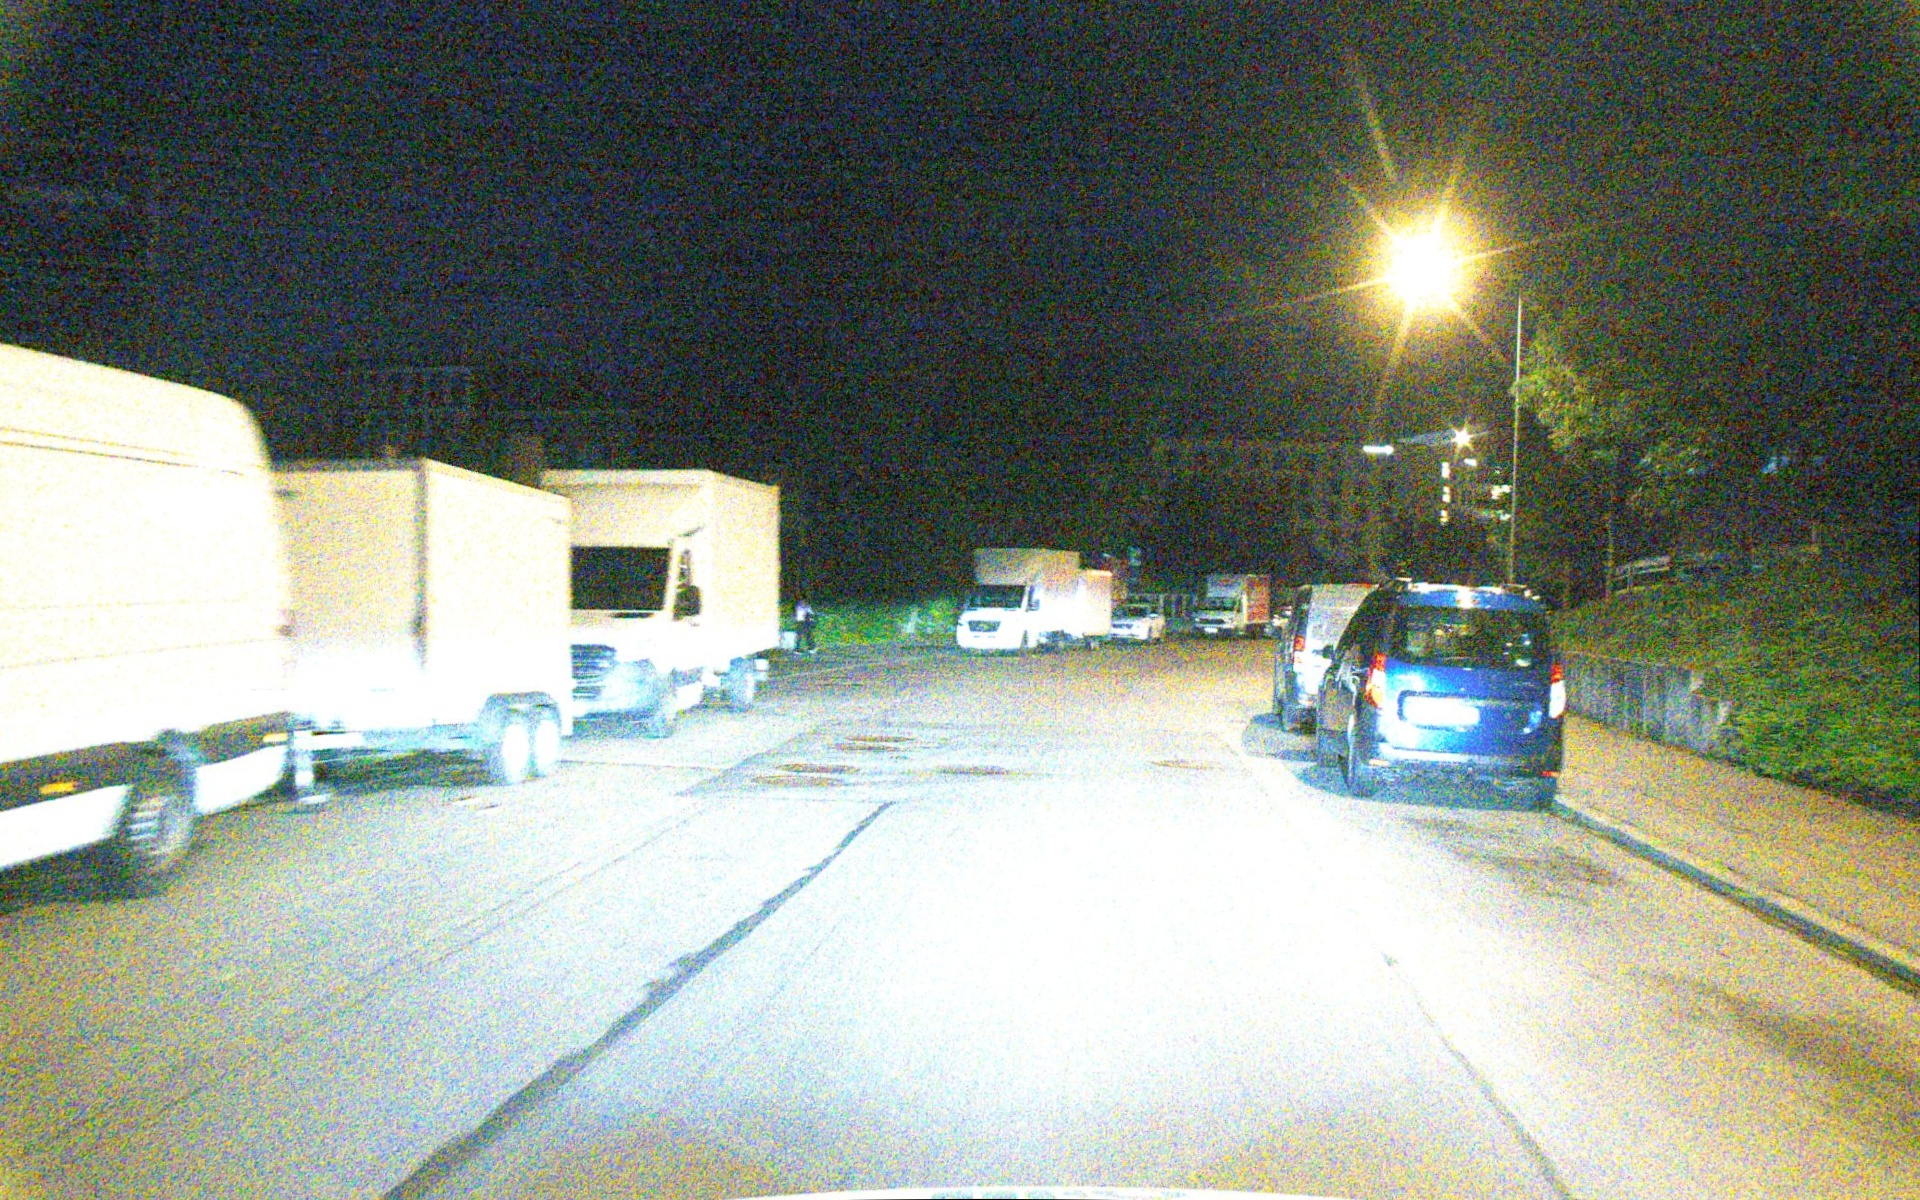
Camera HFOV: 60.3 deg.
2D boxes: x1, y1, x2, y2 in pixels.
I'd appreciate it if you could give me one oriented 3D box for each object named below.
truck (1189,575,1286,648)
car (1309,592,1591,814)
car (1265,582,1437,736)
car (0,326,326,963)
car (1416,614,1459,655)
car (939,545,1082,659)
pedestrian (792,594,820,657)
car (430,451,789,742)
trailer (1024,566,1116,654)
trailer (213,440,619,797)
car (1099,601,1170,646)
[{"bbox_3d":[14.154,0.545,83.845,1.956,3.463,8.966,3,1,28],"label":"truck"},{"bbox_3d":[4.317,0.839,15.164,1.684,1.690,4.002,2,0,5],"label":"car"},{"bbox_3d":[5.253,0.752,22.678,1.684,1.853,4.002,2,0,5],"label":"car"},{"bbox_3d":[-5.257,0.190,6.450,2.466,2.651,7.094,0,0,3],"label":"car"},{"bbox_3d":[22.943,1.643,79.410,1.685,1.853,4.000,2,-1,20],"label":"car"},{"bbox_3d":[1.678,0.043,50.599,2.466,3.227,7.141,0,0,18],"label":"car"},{"bbox_3d":[-4.235,0.698,45.383,0.663,1.681,0.651,1,1,-13],"label":"pedestrian"},{"bbox_3d":[-3.985,-0.034,20.600,2.466,2.978,7.205,0,0,4],"label":"car"},{"bbox_3d":[3.833,0.315,56.835,1.952,2.862,4.704,1,1,19],"label":"trailer"},{"bbox_3d":[-4.319,0.127,13.774,1.951,2.571,3.570,0,0,5],"label":"trailer"},{"bbox_3d":[7.186,0.972,67.753,1.952,1.729,4.207,2,0,20],"label":"car"}]
